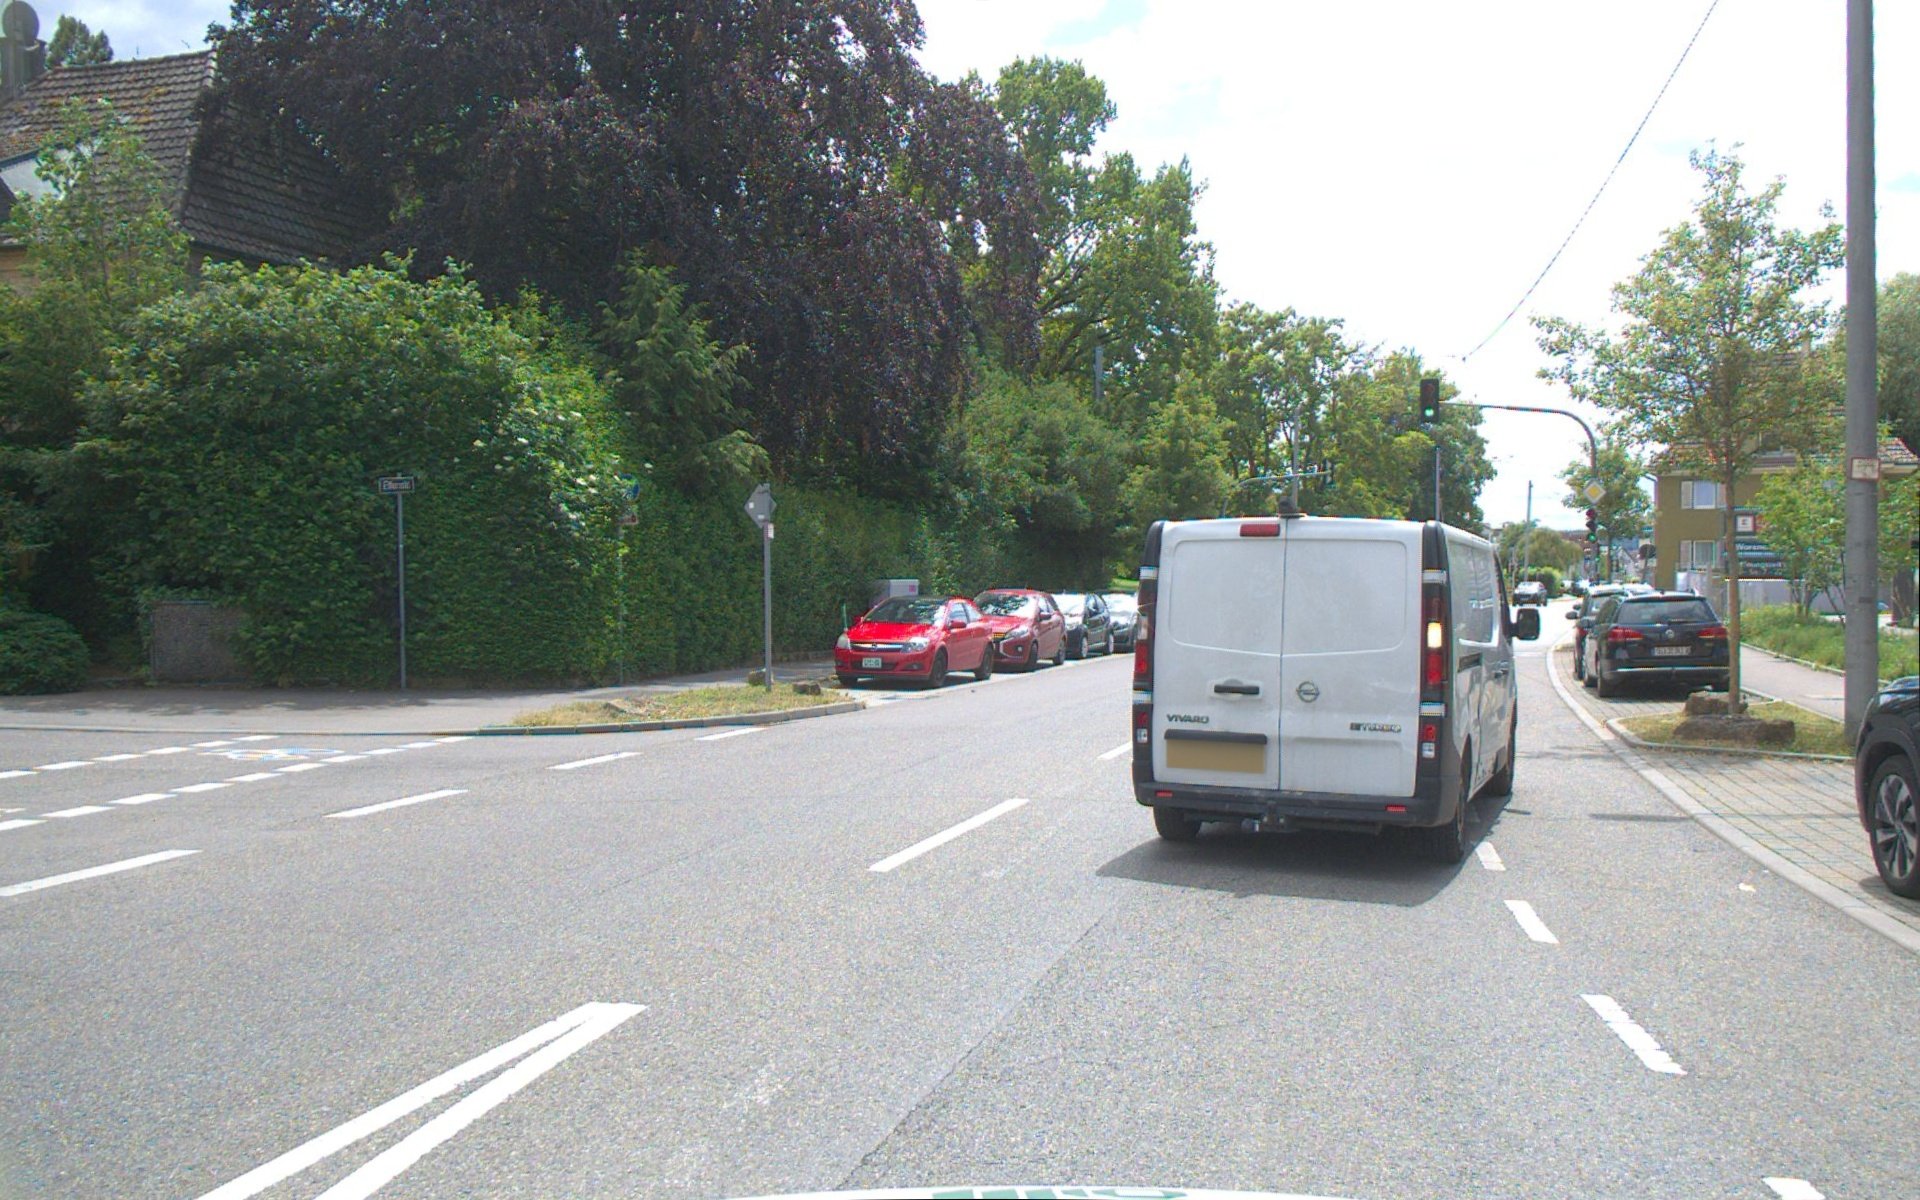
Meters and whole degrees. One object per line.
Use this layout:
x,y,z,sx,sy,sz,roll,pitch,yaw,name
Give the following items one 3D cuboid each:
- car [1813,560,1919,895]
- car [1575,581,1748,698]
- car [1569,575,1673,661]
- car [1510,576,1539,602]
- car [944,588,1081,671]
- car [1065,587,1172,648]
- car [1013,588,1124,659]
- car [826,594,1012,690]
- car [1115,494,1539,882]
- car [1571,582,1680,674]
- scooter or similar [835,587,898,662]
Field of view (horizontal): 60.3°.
5.464,0.612,6.928,1.838,1.650,4.851,-2,0,8,car
10.351,0.528,24.726,1.727,1.503,4.939,-3,-1,16,car
13.836,0.352,34.794,1.700,1.644,4.388,-3,-1,18,car
38.554,-0.764,112.962,1.795,1.645,4.154,-1,1,19,car
1.098,0.521,32.439,1.615,1.476,4.107,1,1,17,car
4.006,0.389,41.147,1.659,1.389,4.689,2,1,18,car
2.475,0.486,37.117,1.562,1.476,3.597,1,1,19,car
-0.571,0.632,27.401,1.626,1.402,4.568,1,1,18,car
2.715,0.420,11.175,1.900,1.994,4.832,2,1,23,car
11.811,0.465,29.540,1.535,1.519,4.002,-1,0,18,car
-1.854,0.468,33.040,0.656,1.437,1.649,1,1,20,scooter or similar
